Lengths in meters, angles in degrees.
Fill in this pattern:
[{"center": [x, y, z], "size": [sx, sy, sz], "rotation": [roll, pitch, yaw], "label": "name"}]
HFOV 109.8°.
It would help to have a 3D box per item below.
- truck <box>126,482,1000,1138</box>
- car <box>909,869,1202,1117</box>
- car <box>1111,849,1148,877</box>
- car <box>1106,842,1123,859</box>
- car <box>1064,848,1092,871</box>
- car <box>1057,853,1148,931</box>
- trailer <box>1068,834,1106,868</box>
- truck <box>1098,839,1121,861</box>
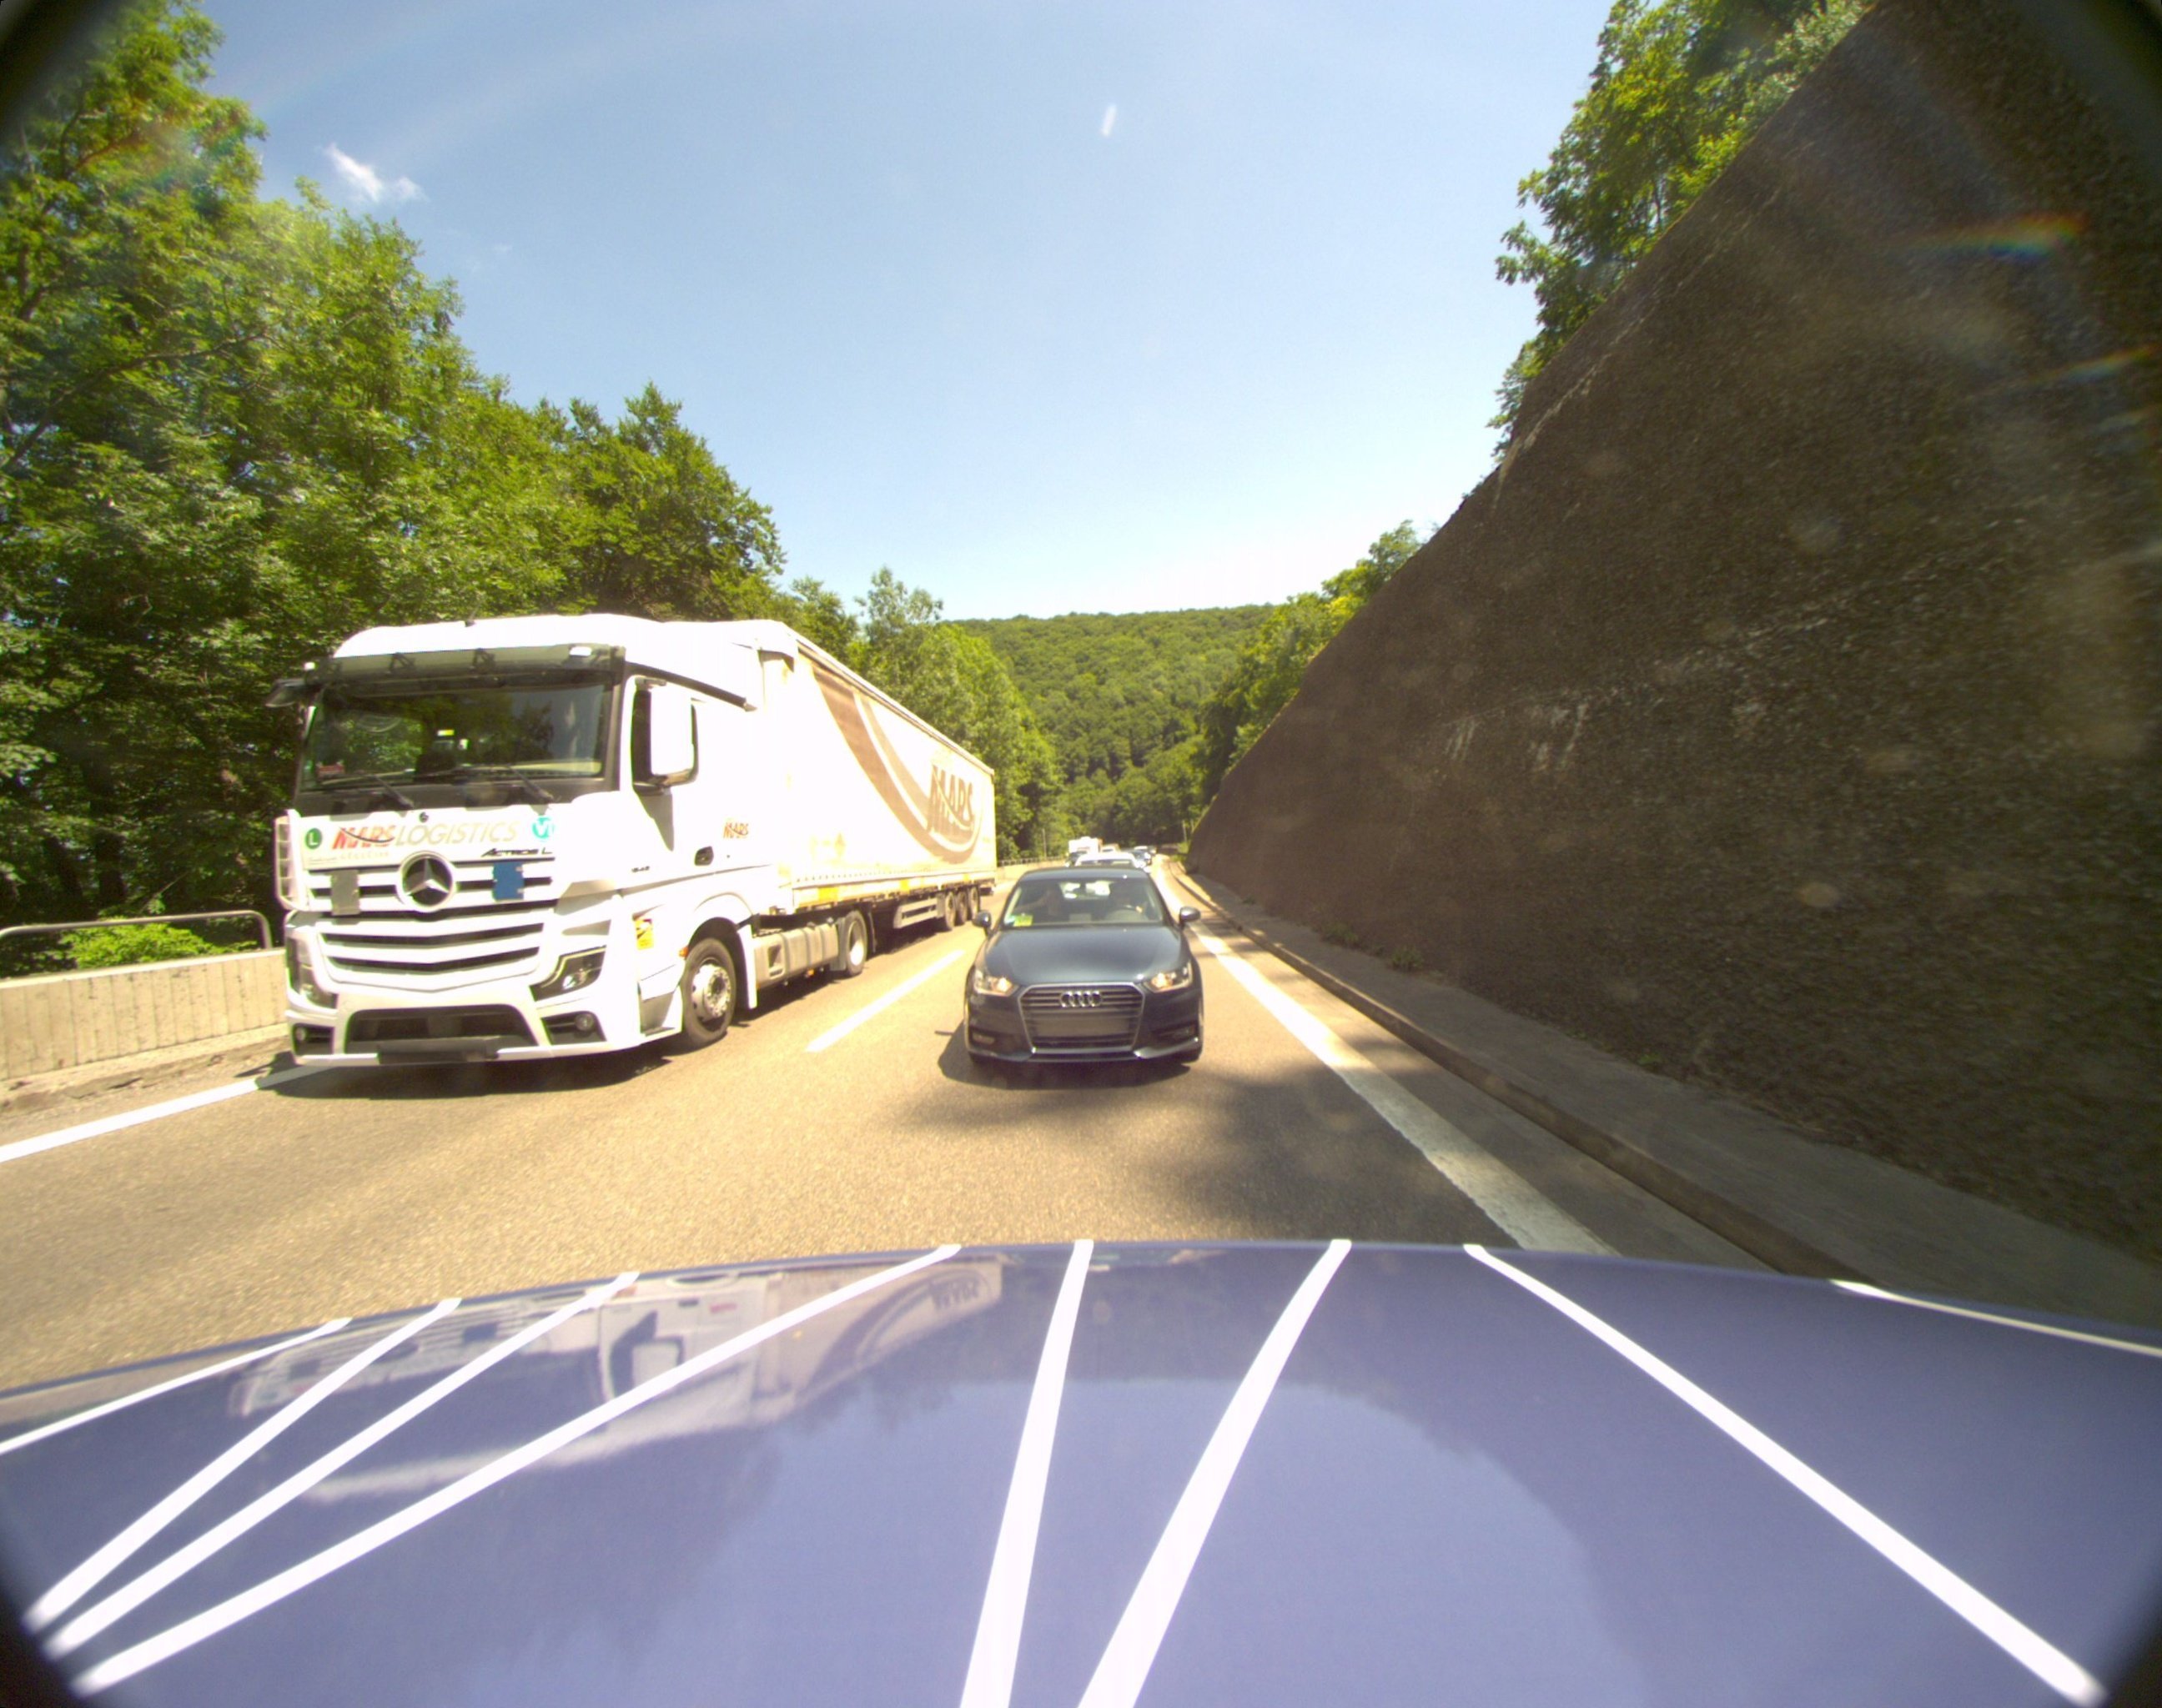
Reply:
[{"center": [-4.253, -0.315, 13.264], "size": [2.968, 4.108, 16.708], "rotation": [-3, 0, 3], "label": "truck"}, {"center": [0.018, 0.912, 6.720], "size": [1.754, 1.350, 4.123], "rotation": [-2, 1, 5], "label": "car"}, {"center": [2.744, 0.453, 42.182], "size": [1.905, 1.430, 3.870], "rotation": [-2, 0, 5], "label": "car"}, {"center": [4.208, -0.460, 96.257], "size": [1.998, 2.002, 4.000], "rotation": [-3, 0, 2], "label": "car"}, {"center": [-0.202, 0.378, 58.577], "size": [1.998, 1.652, 4.000], "rotation": [-3, 0, 2], "label": "car"}, {"center": [0.606, 0.773, 17.253], "size": [1.754, 1.460, 3.983], "rotation": [-3, 0, 5], "label": "car"}, {"center": [0.671, -0.276, 67.274], "size": [2.526, 2.694, 9.507], "rotation": [-2, 0, 5], "label": "trailer"}, {"center": [3.433, -0.522, 89.989], "size": [2.441, 2.395, 6.814], "rotation": [-3, 0, 4], "label": "truck"}]
